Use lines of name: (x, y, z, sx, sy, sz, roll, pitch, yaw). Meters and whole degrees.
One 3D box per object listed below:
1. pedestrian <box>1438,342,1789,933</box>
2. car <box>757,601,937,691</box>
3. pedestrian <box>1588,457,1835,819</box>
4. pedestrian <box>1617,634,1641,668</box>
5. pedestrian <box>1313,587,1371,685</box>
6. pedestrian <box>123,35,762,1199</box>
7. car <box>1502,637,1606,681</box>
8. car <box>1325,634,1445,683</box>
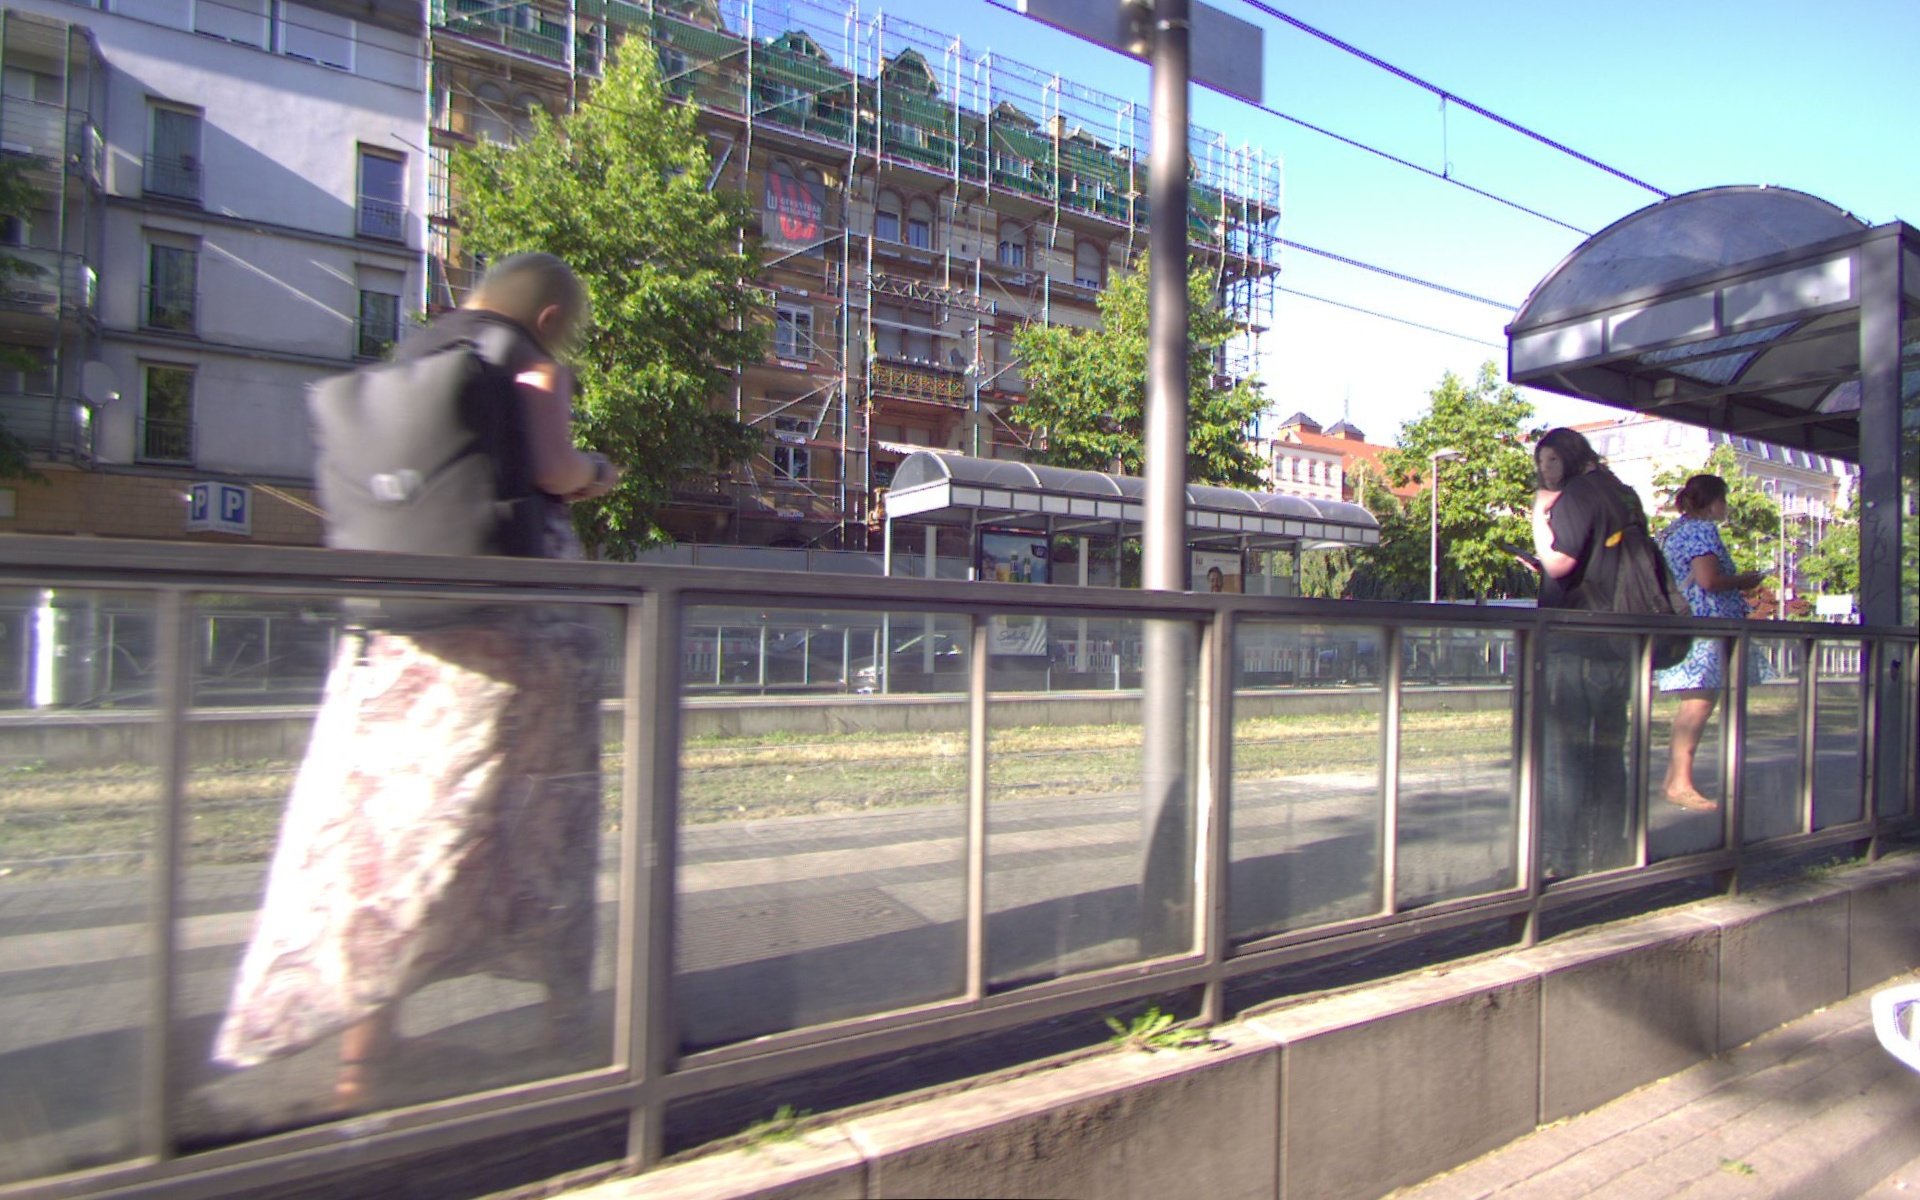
pedestrian: (2.271, 0.120, 3.533, 0.687, 1.782, 0.761, 2, 0, -30)
car: (-2.806, 1.129, 24.940, 3.951, 2.040, 1.985, 2, 0, -29)
pedestrian: (3.927, 0.175, 5.330, 0.893, 1.745, 0.631, 2, 0, 27)
pedestrian: (33.037, 2.513, 49.611, 0.805, 1.669, 0.719, 2, -3, -36)
pedestrian: (6.885, 0.641, 18.105, 0.647, 1.712, 0.675, 2, 0, -32)
pedestrian: (-0.907, 0.041, 1.860, 0.841, 1.583, 0.675, 2, 0, -30)
car: (24.083, 2.395, 40.730, 4.012, 1.607, 1.715, 2, 0, -26)
car: (15.165, 2.097, 35.830, 4.012, 1.607, 1.715, 2, 0, -26)
